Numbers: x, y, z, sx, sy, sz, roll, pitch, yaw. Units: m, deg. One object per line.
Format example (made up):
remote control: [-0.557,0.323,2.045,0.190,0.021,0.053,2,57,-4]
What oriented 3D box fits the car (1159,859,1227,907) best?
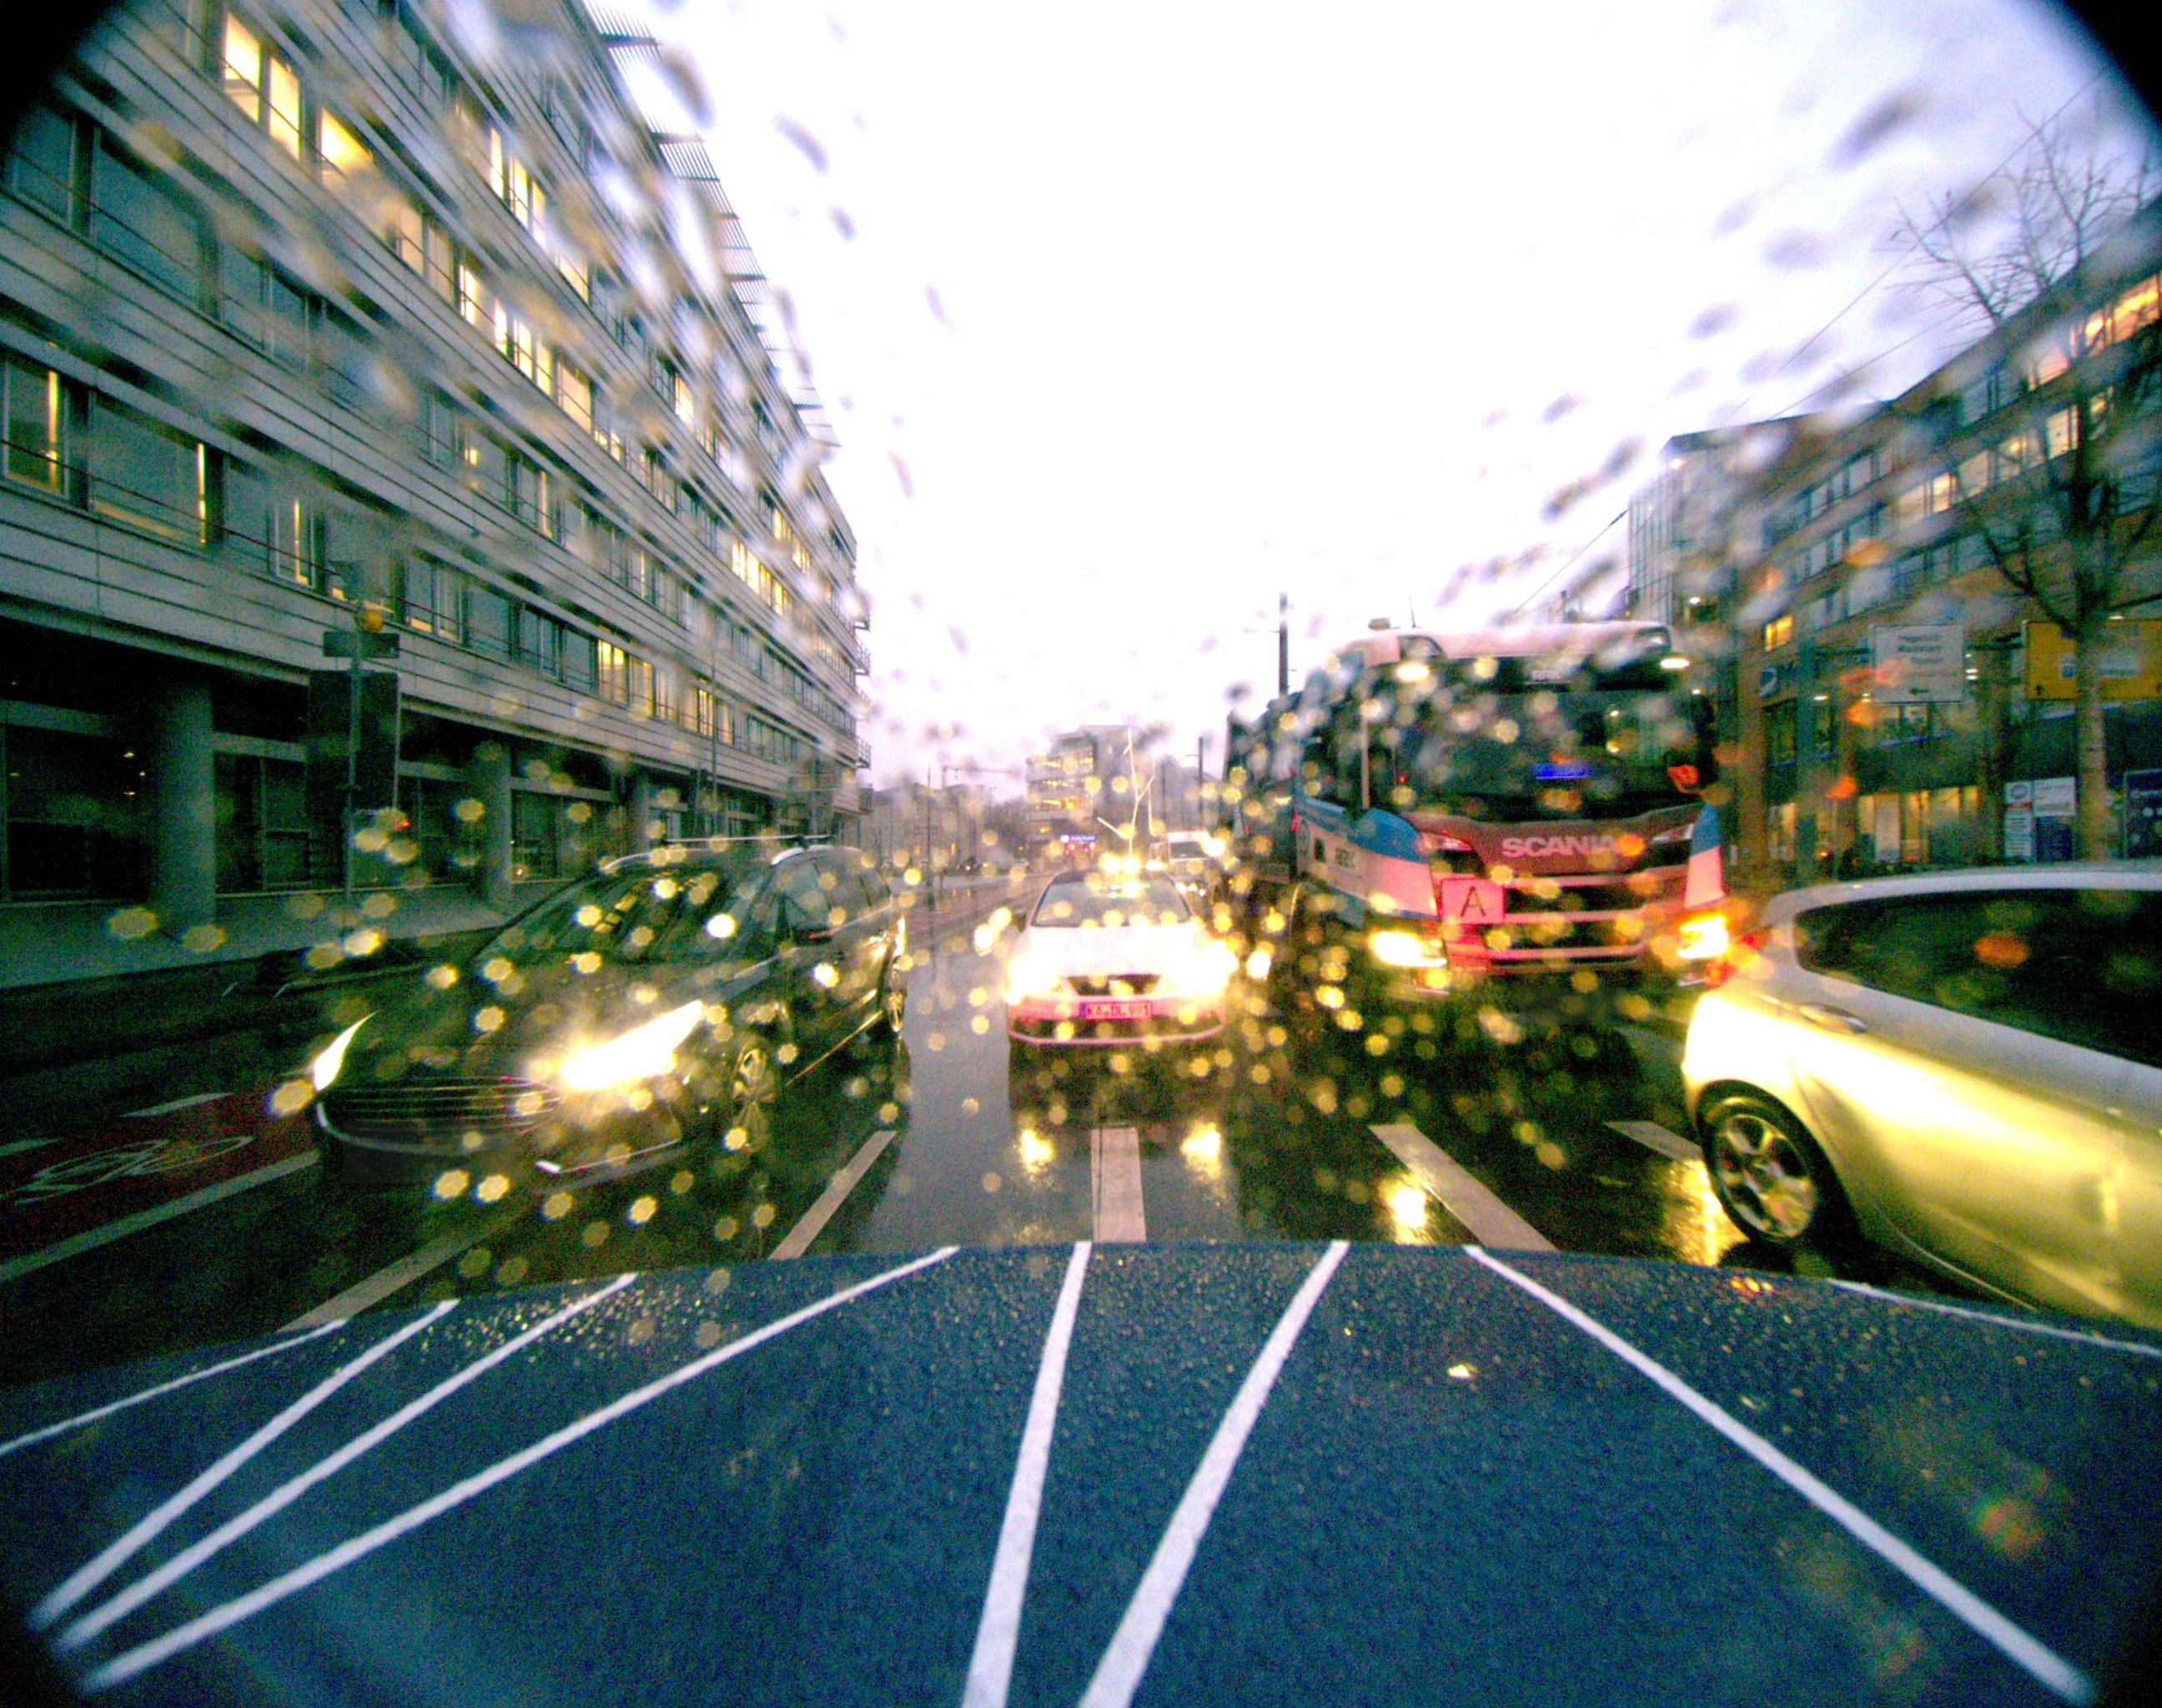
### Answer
car: [3.467,0.872,24.190,1.759,1.337,4.057,-1,0,3]

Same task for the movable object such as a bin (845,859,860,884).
movable object such as a bin: [-13.450,1.018,44.728,0.666,1.468,0.840,-1,1,-2]

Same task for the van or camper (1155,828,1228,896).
van or camper: [4.491,0.295,31.778,2.153,2.517,5.898,-1,0,0]

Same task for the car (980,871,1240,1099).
car: [0.229,0.956,7.240,1.782,1.464,3.943,-1,0,1]

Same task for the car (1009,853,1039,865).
car: [-8.191,0.722,109.012,3.918,1.699,1.782,-1,0,15]

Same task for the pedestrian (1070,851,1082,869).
pedestrian: [-0.573,0.706,89.537,1.118,2.002,1.034,0,1,15]

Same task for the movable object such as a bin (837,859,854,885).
movable object such as a bin: [-13.289,0.997,42.902,0.666,1.420,0.840,-1,1,-2]

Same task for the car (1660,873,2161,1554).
car: [3.302,0.861,1.218,1.709,1.439,3.999,-2,1,1]

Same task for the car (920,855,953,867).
car: [-21.456,1.075,113.231,4.368,1.750,2.002,-1,0,17]

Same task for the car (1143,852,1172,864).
car: [11.699,0.572,115.740,3.991,1.759,1.815,-1,0,20]

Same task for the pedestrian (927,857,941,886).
pedestrian: [-8.764,1.059,45.328,0.651,1.692,0.884,1,1,-3]

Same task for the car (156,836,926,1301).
car: [-2.630,0.856,5.347,1.887,1.800,4.671,-2,0,2]

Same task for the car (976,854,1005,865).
car: [-13.076,0.749,110.203,3.759,1.528,1.783,0,0,17]

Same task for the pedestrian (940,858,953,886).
pedestrian: [-8.066,1.060,45.487,0.616,1.659,0.884,1,1,-3]

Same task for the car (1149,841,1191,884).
car: [6.218,0.565,53.940,2.129,2.847,5.812,-1,0,-1]

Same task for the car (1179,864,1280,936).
car: [3.389,1.005,18.047,1.634,1.514,3.942,0,-1,0]

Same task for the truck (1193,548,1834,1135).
truck: [3.249,-0.086,8.481,2.846,3.612,7.526,-1,0,0]

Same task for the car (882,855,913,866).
car: [-27.898,1.023,115.586,3.996,1.663,2.002,-1,0,17]

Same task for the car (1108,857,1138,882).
car: [3.376,1.243,61.822,2.169,1.744,4.540,0,2,0]

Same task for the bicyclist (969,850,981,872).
bicyclist: [-8.475,0.560,60.767,0.670,1.787,0.807,0,1,16]

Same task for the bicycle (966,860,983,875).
bicycle: [-8.485,1.080,60.807,0.680,1.191,1.763,0,1,16]

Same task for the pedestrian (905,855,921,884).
pedestrian: [-10.127,0.917,45.942,0.747,1.692,0.969,2,0,-3]
